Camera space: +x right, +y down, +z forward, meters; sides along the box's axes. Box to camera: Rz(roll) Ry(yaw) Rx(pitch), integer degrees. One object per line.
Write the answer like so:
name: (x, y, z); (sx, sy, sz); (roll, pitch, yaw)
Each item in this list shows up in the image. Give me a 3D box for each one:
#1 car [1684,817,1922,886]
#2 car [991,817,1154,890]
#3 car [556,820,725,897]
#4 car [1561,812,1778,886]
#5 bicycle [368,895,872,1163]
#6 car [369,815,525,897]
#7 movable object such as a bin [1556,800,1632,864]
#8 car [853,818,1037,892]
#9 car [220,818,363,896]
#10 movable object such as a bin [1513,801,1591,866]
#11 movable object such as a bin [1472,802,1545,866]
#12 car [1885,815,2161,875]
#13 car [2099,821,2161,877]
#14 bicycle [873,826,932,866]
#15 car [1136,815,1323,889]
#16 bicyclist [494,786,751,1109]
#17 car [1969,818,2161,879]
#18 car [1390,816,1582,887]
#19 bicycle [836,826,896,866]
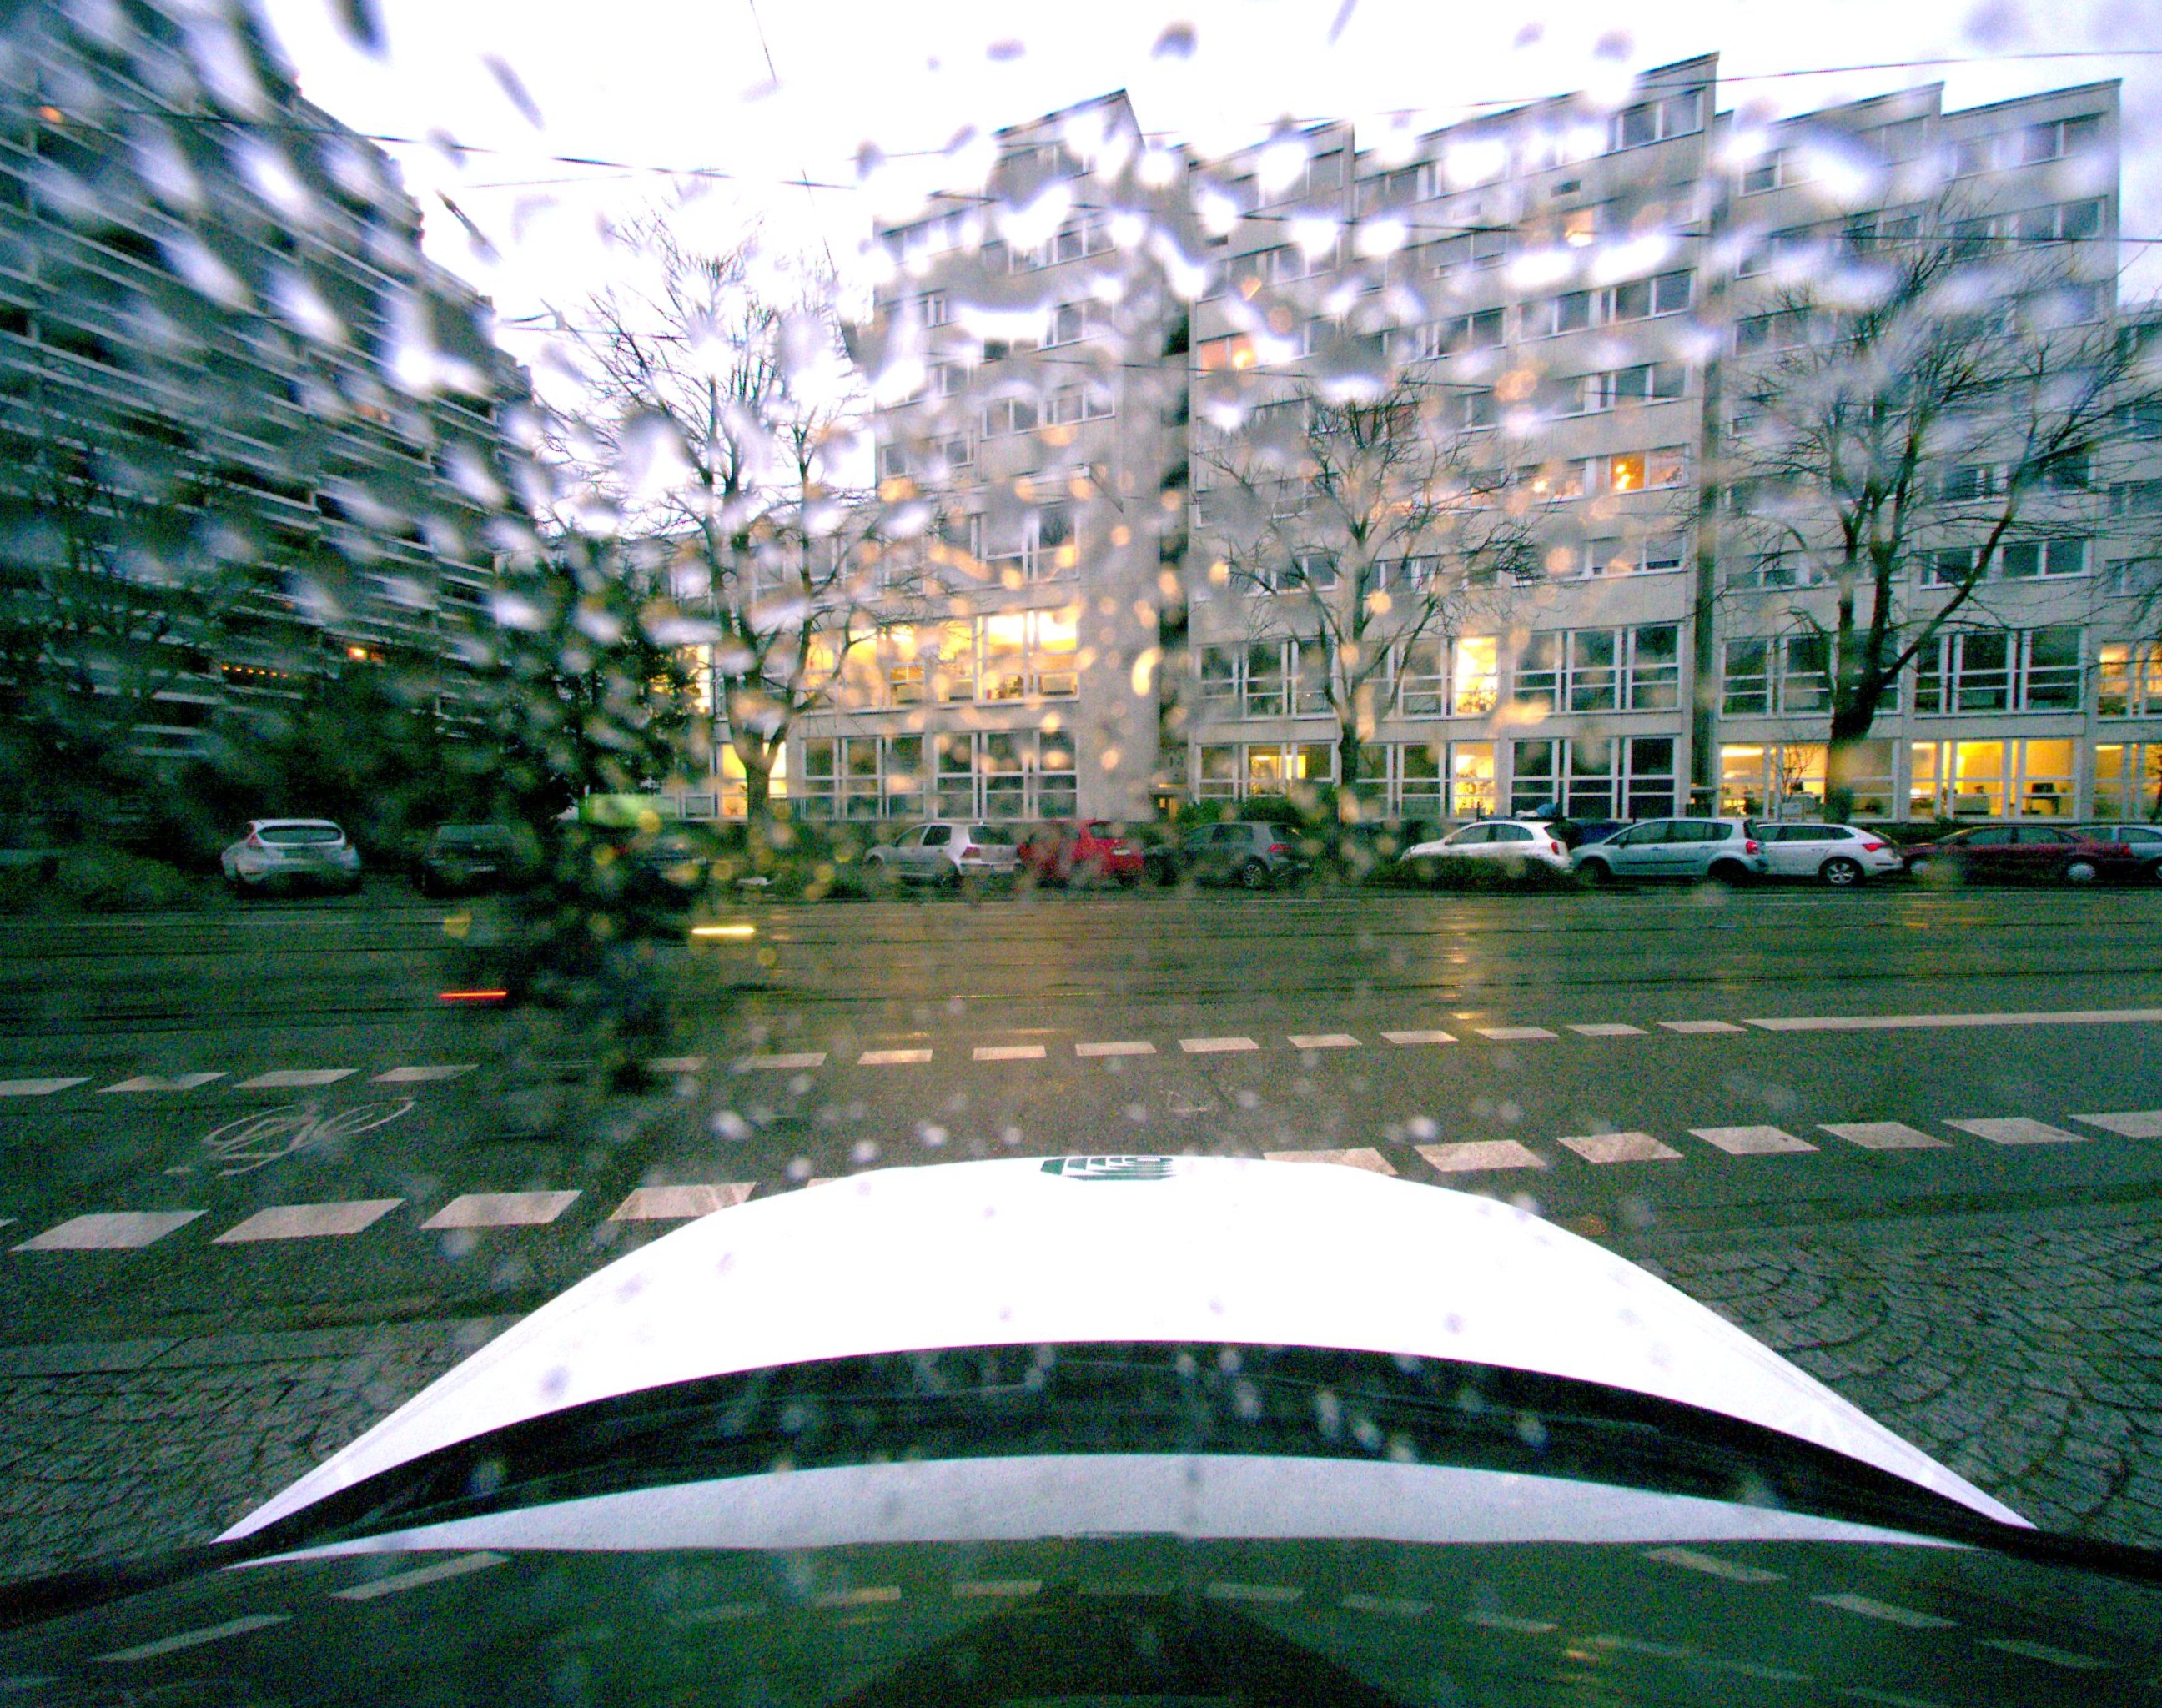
car: (16.847, -0.104, 19.173); (1.745, 1.443, 3.955); (-1, 2, -38)
car: (-0.241, -0.068, 18.419); (3.408, 1.492, 1.740); (1, 3, 43)
car: (-9.099, 0.030, 16.699); (3.950, 1.378, 1.867); (1, 3, 43)
car: (13.763, -0.162, 19.181); (3.950, 1.563, 1.747); (1, 3, 43)
bicycle: (-2.142, 0.799, 4.015); (2.017, 1.096, 0.709); (-1, 2, -3)
car: (-13.026, -0.031, 16.651); (3.950, 1.462, 1.867); (1, 3, 43)
movable object such as a bin: (15.613, -0.690, 24.838); (1.311, 1.859, 1.573); (-2, 2, -4)
car: (-3.048, -0.042, 17.900); (3.949, 1.446, 1.804); (1, 3, 39)
car: (-16.205, -0.010, 16.651); (3.950, 1.399, 1.867); (1, 3, 43)
movable object such as a bin: (14.272, -0.639, 24.733); (1.386, 1.859, 1.573); (-2, 2, -4)
movable object such as a bin: (12.886, -0.614, 24.601); (1.311, 1.859, 1.573); (-2, 2, -4)
car: (23.214, -0.234, 20.303); (4.292, 1.352, 1.761); (1, 1, 37)
car: (29.599, -0.136, 21.039); (3.803, 1.423, 1.748); (1, 3, 39)
bicycle: (-5.251, -0.259, 24.118); (0.635, 1.120, 2.216); (0, 2, 18)
car: (3.285, -0.090, 18.354); (3.805, 1.492, 1.707); (1, 3, 41)
bicyclist: (-2.194, 0.410, 3.999); (0.844, 1.446, 0.658); (-1, 2, -2)
car: (25.974, -0.166, 21.090); (1.746, 1.463, 3.954); (-1, 2, -40)
car: (9.616, -0.109, 19.487); (3.827, 1.551, 1.704); (1, 3, 40)
bicycle: (-6.428, -0.261, 24.459); (0.635, 1.120, 2.216); (0, 2, 18)
